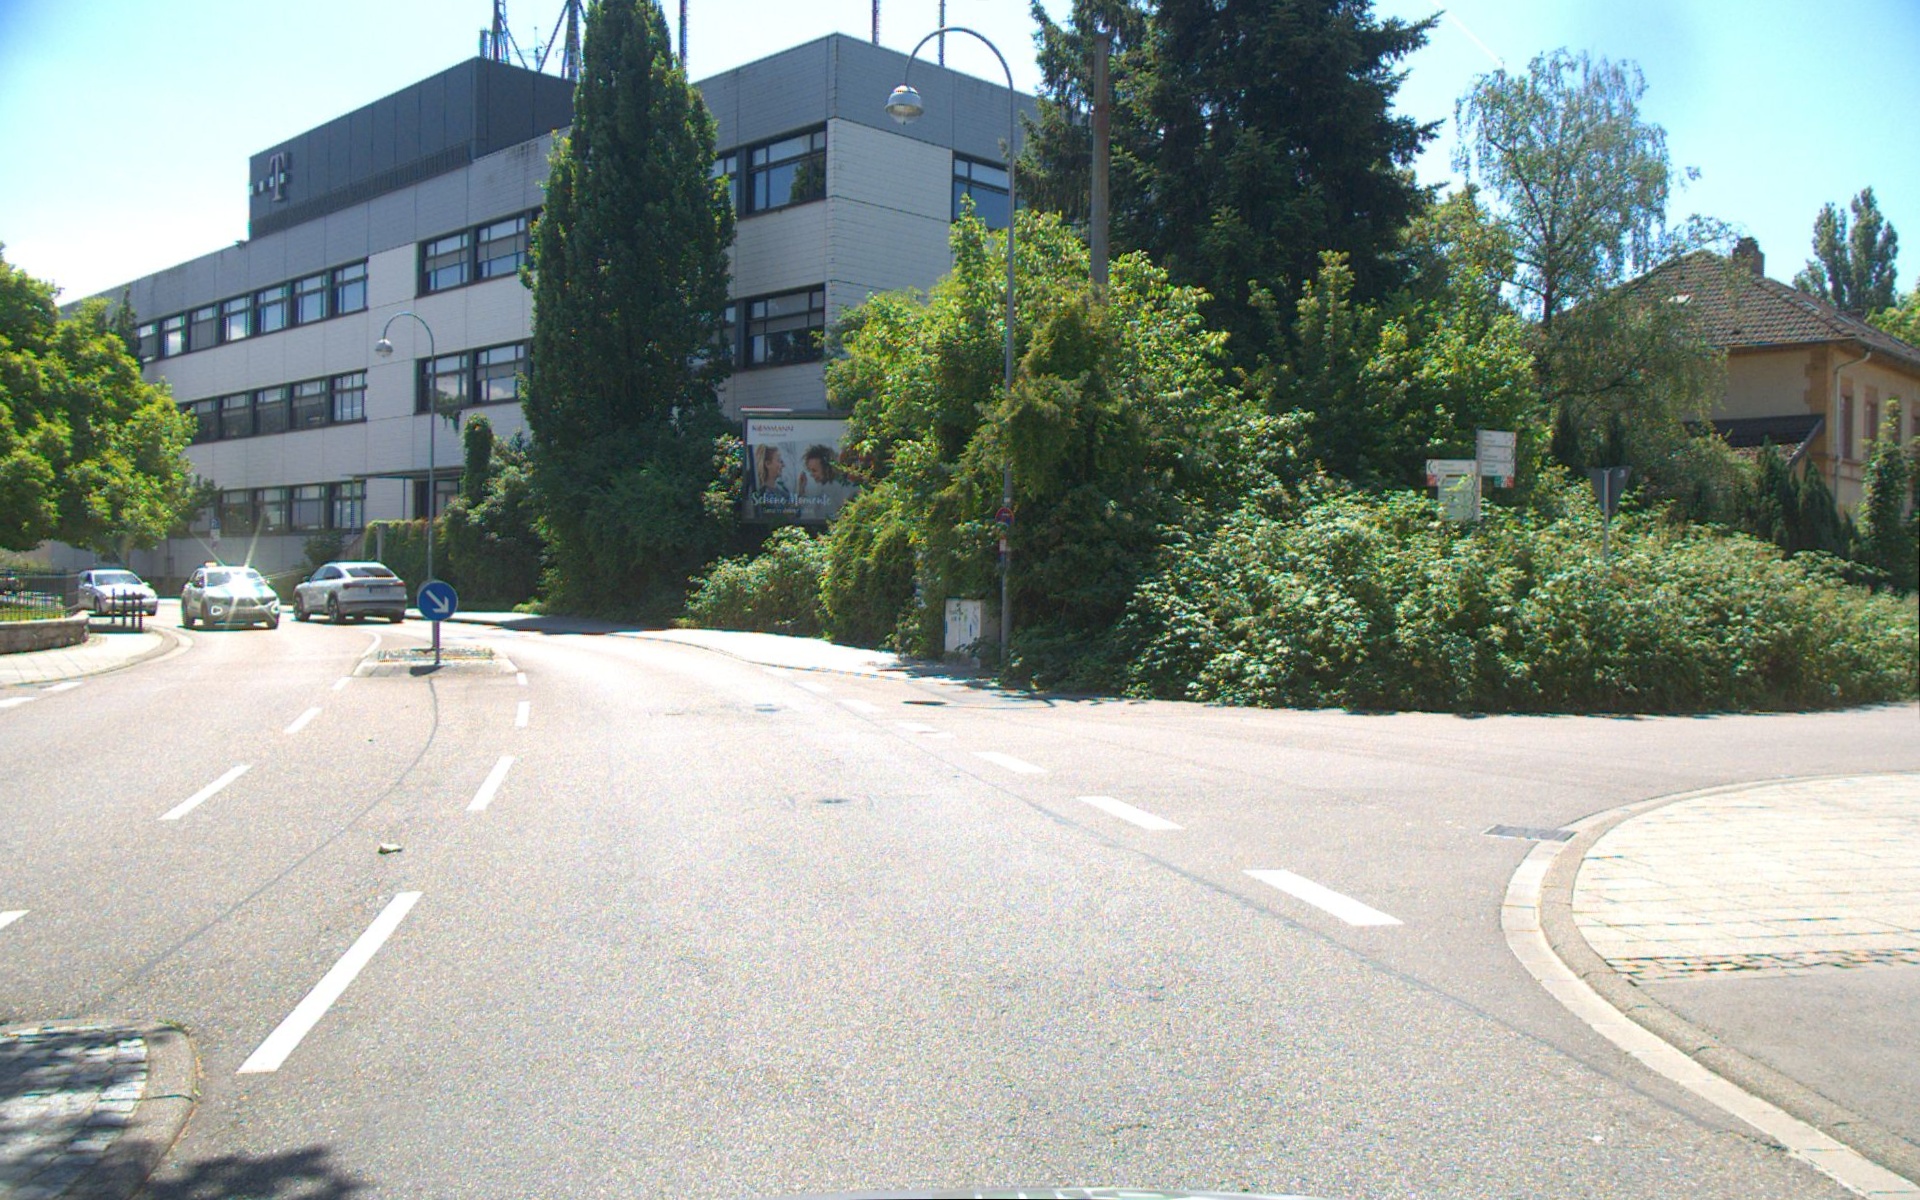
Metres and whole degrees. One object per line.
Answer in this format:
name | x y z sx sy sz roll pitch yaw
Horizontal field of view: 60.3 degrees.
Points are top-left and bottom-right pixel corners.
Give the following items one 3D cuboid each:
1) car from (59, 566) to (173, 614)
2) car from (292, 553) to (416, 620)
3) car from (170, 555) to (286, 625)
car | -26.994 -0.333 52.848 4.225 1.460 1.755 0 2 41
car | -17.074 -0.424 46.479 1.924 1.642 4.410 -4 5 -38
car | -19.161 -0.309 43.226 1.859 1.651 4.247 -1 3 -37
